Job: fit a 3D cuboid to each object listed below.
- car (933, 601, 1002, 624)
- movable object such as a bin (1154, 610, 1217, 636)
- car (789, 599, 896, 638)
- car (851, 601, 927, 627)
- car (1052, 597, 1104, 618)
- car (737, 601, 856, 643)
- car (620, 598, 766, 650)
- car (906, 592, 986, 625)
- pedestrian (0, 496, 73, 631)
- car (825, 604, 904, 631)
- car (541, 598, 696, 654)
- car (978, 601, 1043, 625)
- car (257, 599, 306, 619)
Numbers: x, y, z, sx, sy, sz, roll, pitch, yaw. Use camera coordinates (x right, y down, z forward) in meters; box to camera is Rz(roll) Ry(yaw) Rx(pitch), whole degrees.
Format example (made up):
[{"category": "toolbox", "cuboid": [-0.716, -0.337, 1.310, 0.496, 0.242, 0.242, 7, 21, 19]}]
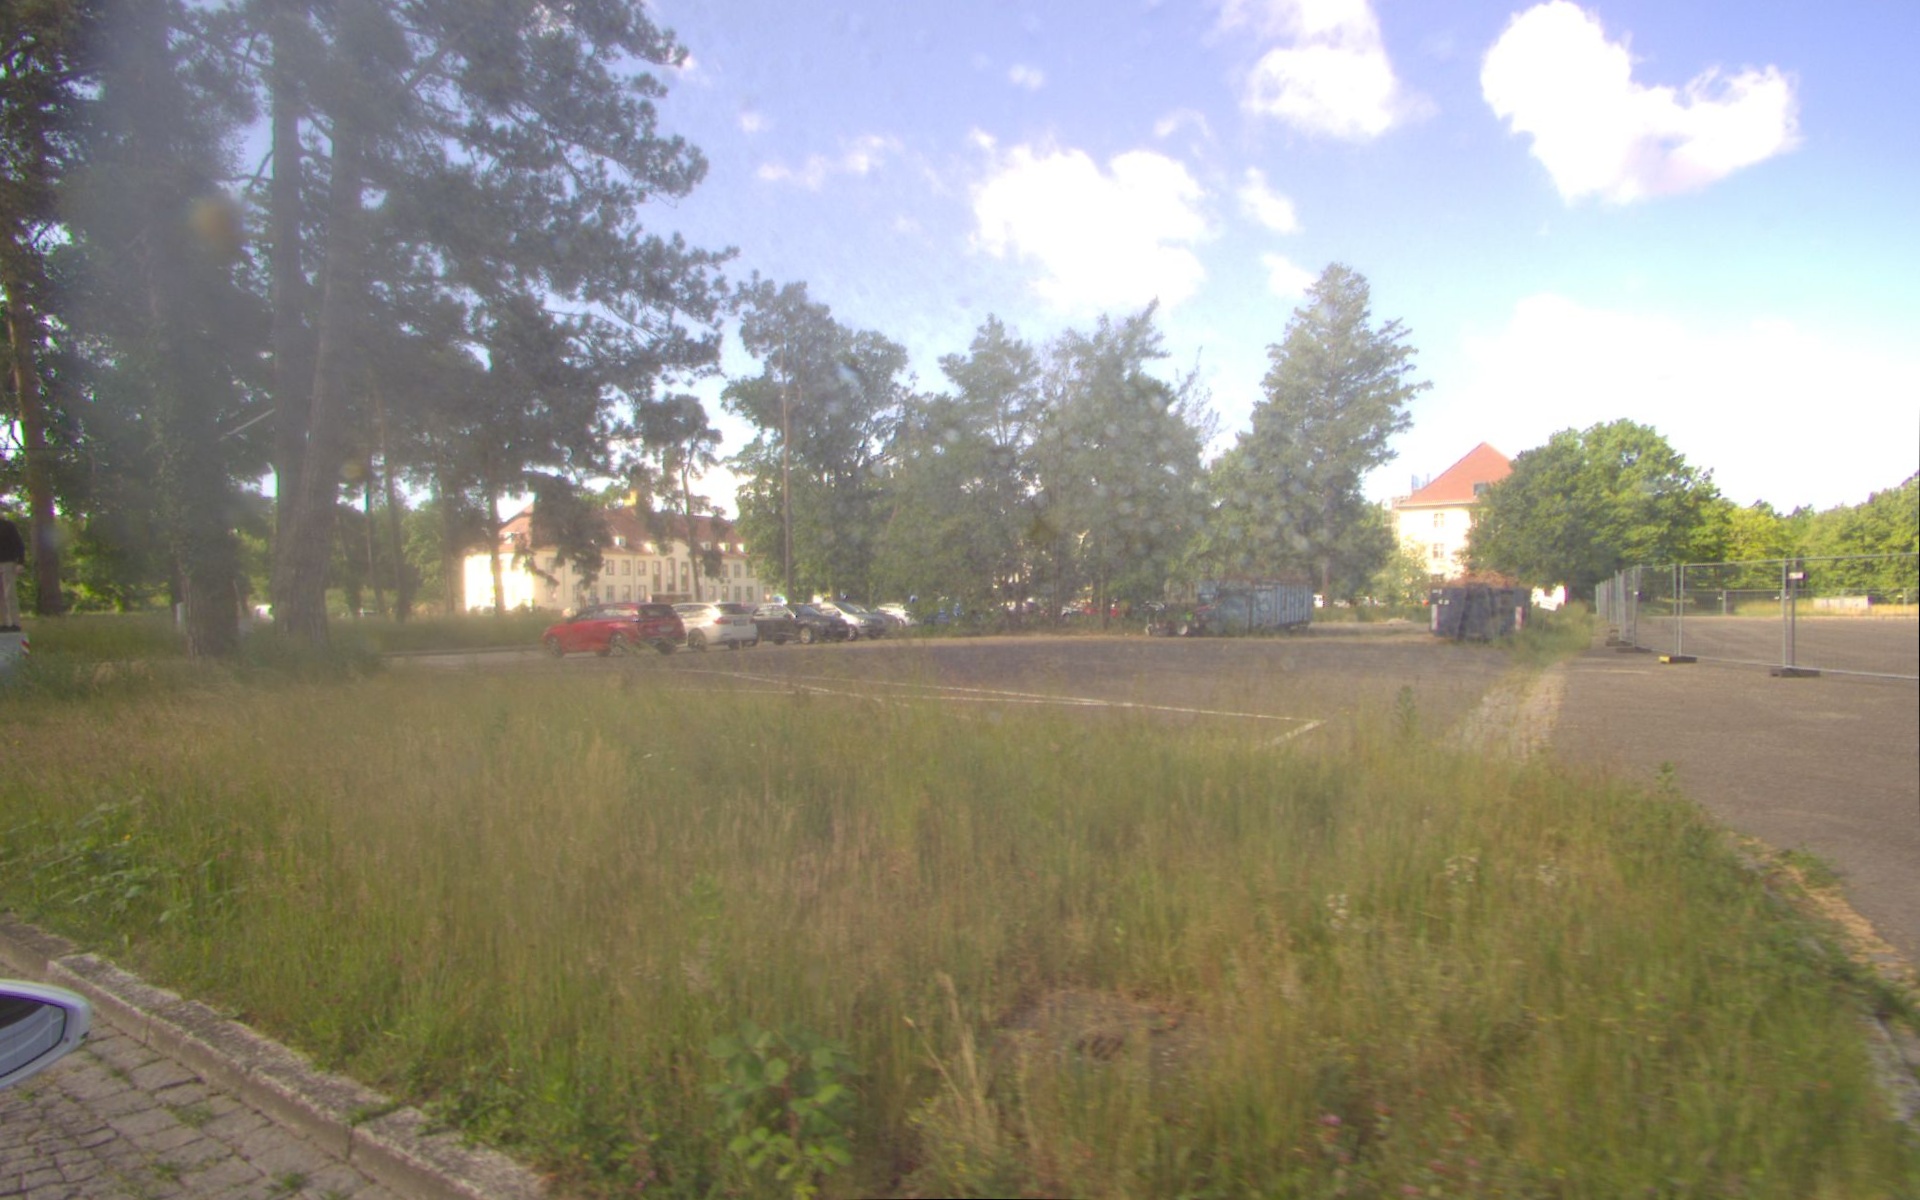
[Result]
[{"category": "car", "cuboid": [0.462, 0.819, 64.024, 4.181, 1.443, 1.720, 0, -1, 33]}, {"category": "movable object such as a bin", "cuboid": [6.965, 0.709, 30.937, 1.696, 0.762, 1.143, 0, 0, 26]}, {"category": "car", "cuboid": [-4.354, 0.673, 37.005, 3.740, 1.390, 1.719, 0, -1, 35]}, {"category": "car", "cuboid": [-4.088, 0.807, 57.545, 4.181, 1.487, 1.720, 0, -1, 33]}, {"category": "car", "cuboid": [9.165, 0.580, 78.104, 3.682, 1.568, 1.705, 0, -1, 33]}, {"category": "car", "cuboid": [-5.633, 0.716, 34.342, 3.988, 1.332, 1.612, 0, 1, 33]}, {"category": "car", "cuboid": [-7.967, 0.713, 29.803, 4.180, 1.396, 1.776, -3, -1, 31]}, {"category": "car", "cuboid": [-0.890, 0.548, 61.721, 4.677, 1.973, 1.981, 0, -1, 33]}, {"category": "pedestrian", "cuboid": [-13.289, -0.498, 13.922, 1.154, 1.820, 1.057, -1, 2, -28]}, {"category": "car", "cuboid": [-5.225, 0.948, 54.702, 4.181, 1.443, 1.720, 0, -1, 33]}, {"category": "car", "cuboid": [-9.365, 0.723, 27.337, 4.266, 1.417, 1.744, -1, -1, 33]}, {"category": "car", "cuboid": [3.498, 0.902, 69.435, 4.181, 1.568, 1.720, 0, -1, 33]}, {"category": "car", "cuboid": [-55.914, 0.750, 82.513, 4.103, 1.603, 1.823, 0, 1, 33]}]
